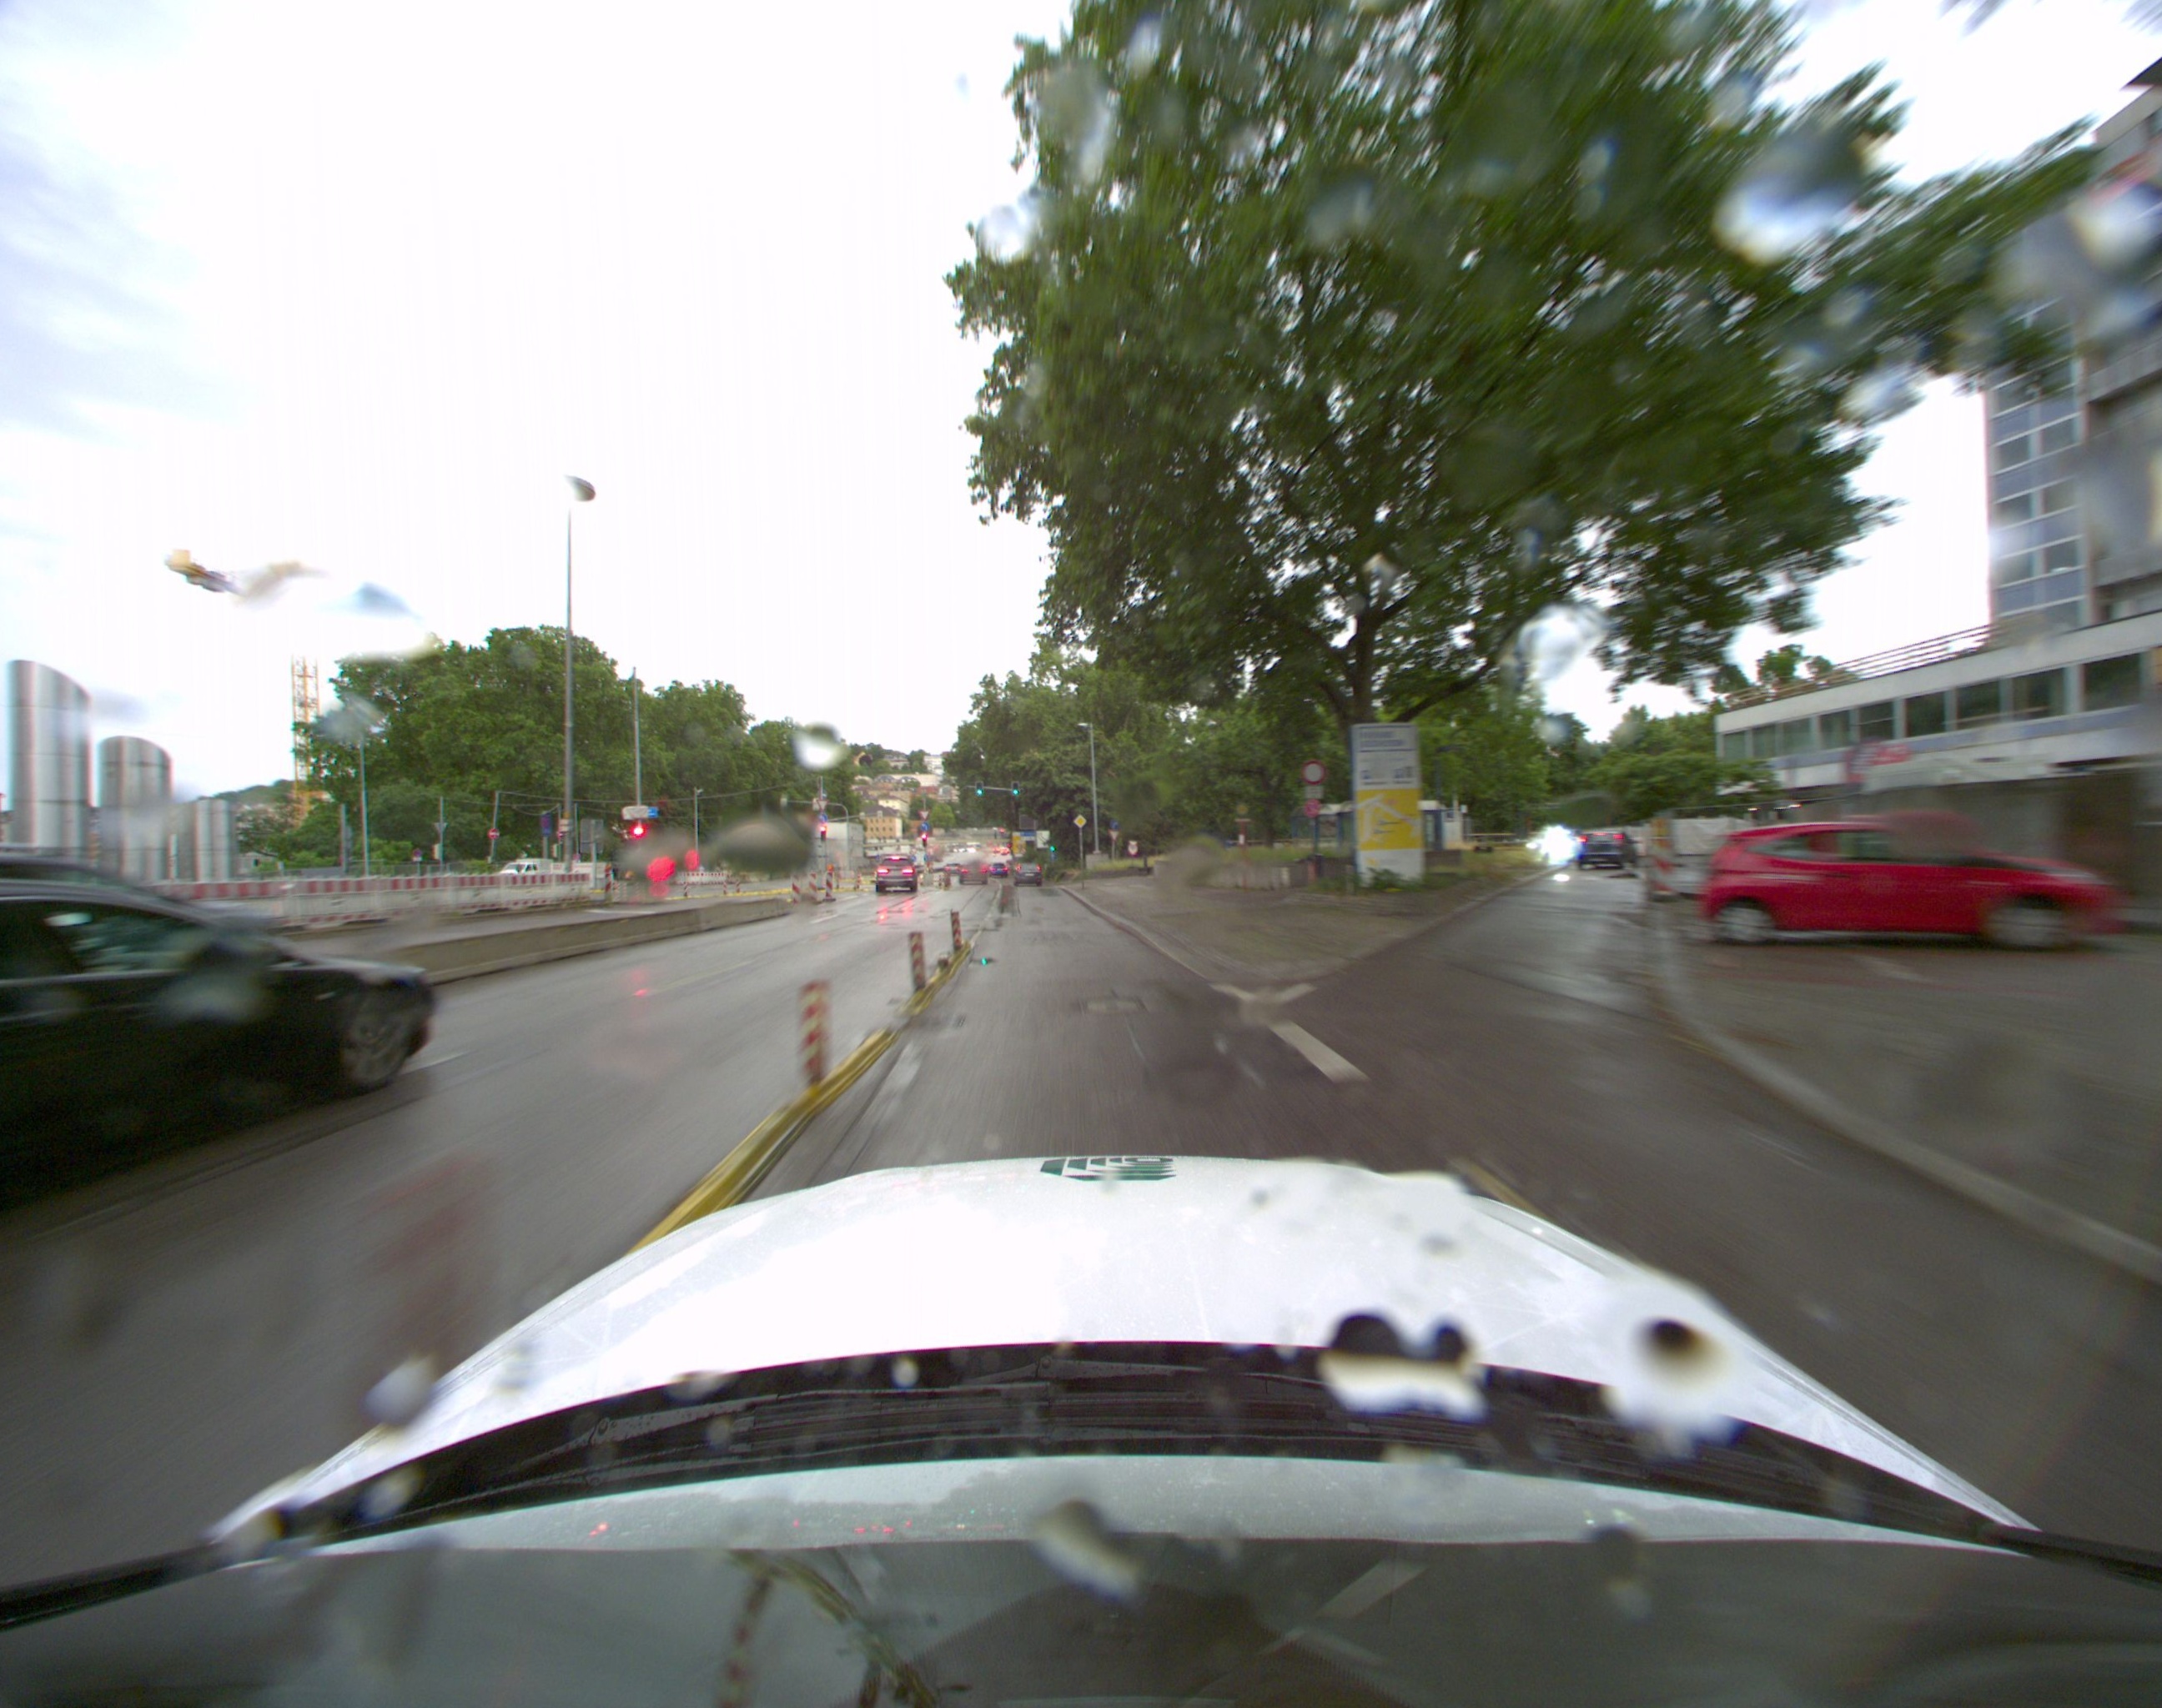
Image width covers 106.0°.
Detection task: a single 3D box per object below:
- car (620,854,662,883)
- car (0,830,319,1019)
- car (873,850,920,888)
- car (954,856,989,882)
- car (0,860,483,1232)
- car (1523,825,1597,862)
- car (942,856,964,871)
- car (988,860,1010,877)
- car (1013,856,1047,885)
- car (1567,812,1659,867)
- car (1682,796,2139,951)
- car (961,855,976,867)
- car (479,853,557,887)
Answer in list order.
[{"bbox_3d":[-39.423,1.276,73.011,1.917,2.361,4.499,-3,0,-11],"label":"car"},{"bbox_3d":[-9.749,0.615,7.253,1.988,1.530,4.150,-3,0,-2],"label":"car"},{"bbox_3d":[-9.435,0.750,41.911,1.992,1.827,3.988,0,0,-8],"label":"car"},{"bbox_3d":[-7.508,1.017,56.290,1.824,1.686,4.134,-2,0,0],"label":"car"},{"bbox_3d":[-5.434,0.827,3.678,1.872,1.508,4.850,-1,0,0],"label":"car"},{"bbox_3d":[23.976,-0.501,40.705,4.479,1.781,1.927,0,0,-42],"label":"car"},{"bbox_3d":[-14.678,1.076,93.353,1.898,1.717,3.999,0,0,0],"label":"car"},{"bbox_3d":[-7.960,1.411,79.141,1.668,1.581,3.240,0,0,1],"label":"car"},{"bbox_3d":[-3.110,0.991,50.210,1.846,1.717,3.999,0,0,0],"label":"car"},{"bbox_3d":[21.026,-0.542,32.123,2.107,2.013,4.676,-1,0,45],"label":"car"},{"bbox_3d":[9.478,0.195,9.745,3.573,1.506,1.745,0,0,40],"label":"car"},{"bbox_3d":[-15.627,0.951,113.131,1.637,1.624,3.776,0,0,-15],"label":"car"},{"bbox_3d":[-48.026,1.314,69.623,2.375,2.701,5.791,-3,0,2],"label":"car"}]
